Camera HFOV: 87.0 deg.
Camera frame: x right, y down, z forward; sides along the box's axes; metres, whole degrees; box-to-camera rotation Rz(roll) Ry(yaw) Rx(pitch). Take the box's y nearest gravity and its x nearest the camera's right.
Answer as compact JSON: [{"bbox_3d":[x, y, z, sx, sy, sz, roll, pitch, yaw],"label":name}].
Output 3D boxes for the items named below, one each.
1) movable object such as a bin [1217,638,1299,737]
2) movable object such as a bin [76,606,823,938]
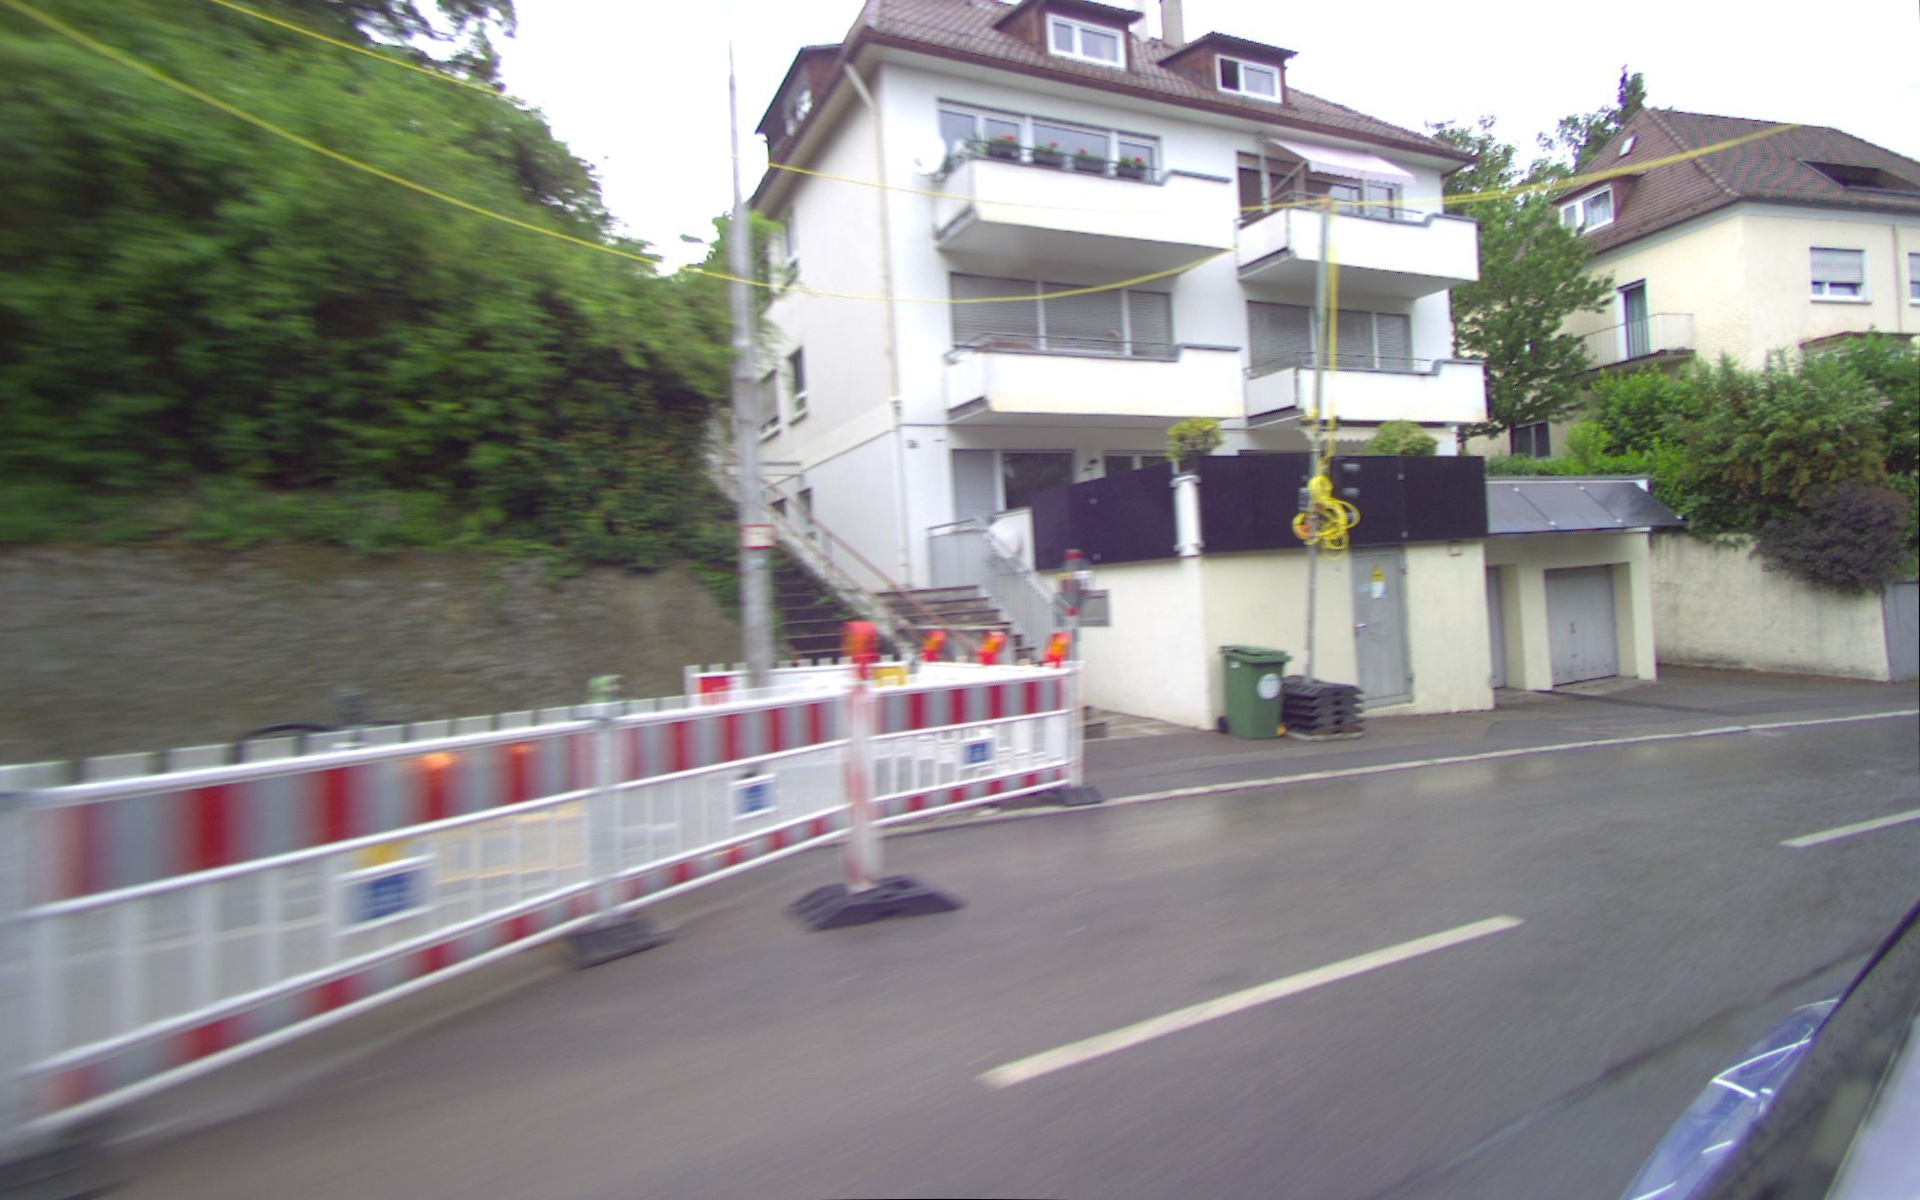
[{"bbox_3d":[3.377,0.970,11.509,0.579,1.045,0.723,0,0,-20],"label":"movable object such as a bin"},{"bbox_3d":[-3.120,0.841,6.703,3.925,1.539,1.999,1,-2,-37],"label":"movable object such as a bin"}]
